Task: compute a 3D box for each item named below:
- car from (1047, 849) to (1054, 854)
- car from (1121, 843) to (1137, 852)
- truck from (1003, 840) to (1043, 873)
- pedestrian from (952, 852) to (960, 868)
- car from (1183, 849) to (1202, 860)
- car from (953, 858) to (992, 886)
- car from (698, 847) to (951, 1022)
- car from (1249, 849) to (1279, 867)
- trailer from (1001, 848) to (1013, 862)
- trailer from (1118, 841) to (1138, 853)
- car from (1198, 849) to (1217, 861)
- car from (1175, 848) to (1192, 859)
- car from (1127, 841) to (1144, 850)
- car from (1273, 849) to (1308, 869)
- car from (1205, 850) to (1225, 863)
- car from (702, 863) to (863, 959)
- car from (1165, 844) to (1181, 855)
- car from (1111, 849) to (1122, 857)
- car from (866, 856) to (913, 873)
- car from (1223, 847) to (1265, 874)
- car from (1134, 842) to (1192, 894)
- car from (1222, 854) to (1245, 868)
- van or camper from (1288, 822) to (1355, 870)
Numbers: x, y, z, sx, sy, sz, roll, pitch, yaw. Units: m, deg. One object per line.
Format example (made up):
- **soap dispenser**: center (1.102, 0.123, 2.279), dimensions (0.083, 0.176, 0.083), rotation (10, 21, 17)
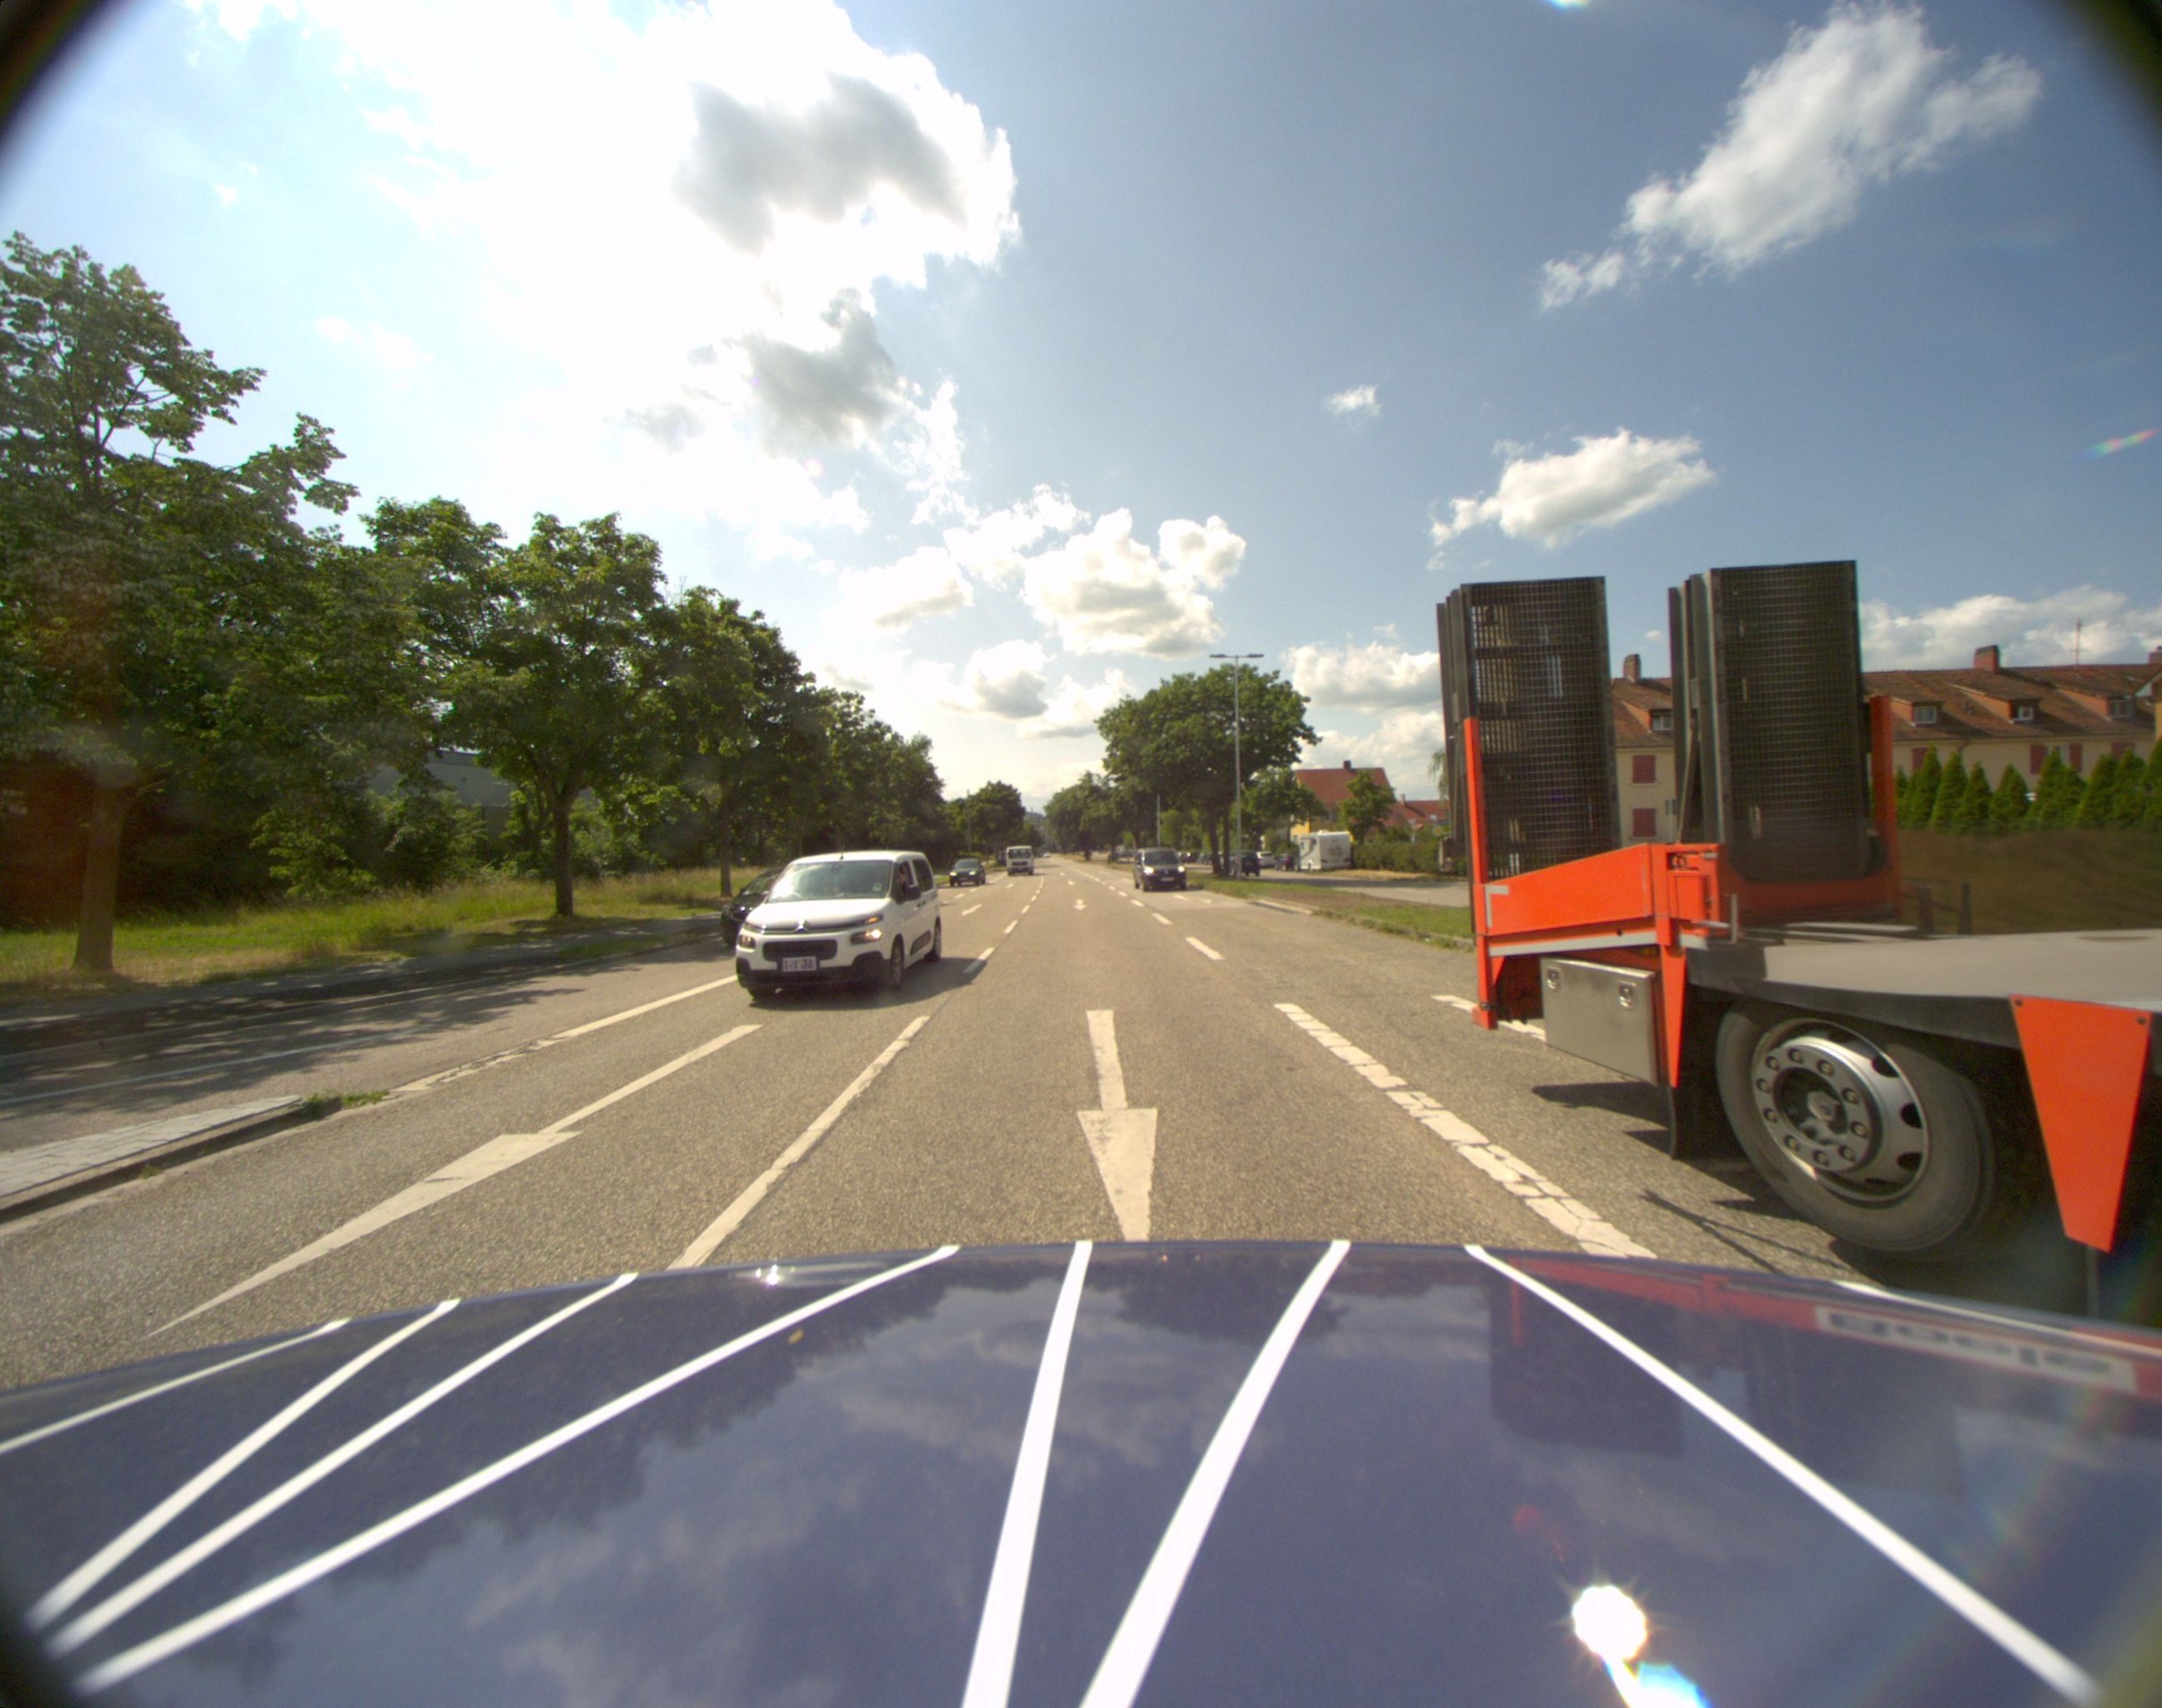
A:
- **car**: center (-9.196, -0.708, 226.549), dimensions (1.892, 1.281, 3.998), rotation (-4, 1, -4)
- **car**: center (12.529, -1.692, 198.323), dimensions (1.800, 2.002, 4.007), rotation (-2, 2, 44)
- **truck**: center (-5.196, 0.172, 69.158), dimensions (2.848, 2.649, 7.350), rotation (-3, 1, 1)
- **pedestrian**: center (-14.888, 0.691, 90.319), dimensions (0.719, 1.784, 0.739), rotation (-4, 2, -4)
- **car**: center (15.437, 0.095, 105.483), dimensions (1.665, 1.473, 4.102), rotation (-4, 0, -4)
- **car**: center (-6.968, 1.140, 49.083), dimensions (1.758, 1.482, 3.999), rotation (-3, 1, 1)
- **car**: center (-3.174, 0.866, 10.580), dimensions (1.936, 1.775, 4.714), rotation (-4, 0, -2)
- **car**: center (16.918, 0.334, 70.481), dimensions (1.693, 1.477, 4.122), rotation (-4, 1, -1)
- **trailer**: center (-12.521, 0.133, 128.922), dimensions (1.958, 2.338, 4.603), rotation (0, 1, -5)
- **trailer**: center (13.448, -2.090, 215.159), dimensions (2.821, 3.090, 5.763), rotation (-3, 1, 35)
- **car**: center (16.108, 0.109, 97.083), dimensions (1.567, 1.387, 3.475), rotation (-4, 1, -3)
- **car**: center (15.274, -0.124, 112.966), dimensions (1.665, 1.443, 3.845), rotation (-4, 1, -4)
- **car**: center (13.654, -2.035, 189.990), dimensions (1.800, 2.002, 4.007), rotation (-2, 2, 44)
- **car**: center (17.077, 0.385, 62.038), dimensions (1.640, 1.477, 3.991), rotation (-4, 1, -1)
- **car**: center (16.379, 0.299, 92.804), dimensions (1.406, 1.387, 4.355), rotation (-4, 1, -3)
- **car**: center (-6.476, 1.145, 17.055), dimensions (1.770, 1.640, 4.237), rotation (-3, 1, 1)
- **car**: center (14.603, -0.717, 120.220), dimensions (1.665, 1.603, 4.312), rotation (-4, 1, -4)
- **car**: center (7.159, -0.130, 153.914), dimensions (1.737, 1.499, 4.649), rotation (2, 1, -4)
- **car**: center (-18.159, 0.980, 72.148), dimensions (4.176, 1.484, 1.783), rotation (1, -1, -8)
- **car**: center (10.561, 0.412, 49.562), dimensions (1.799, 1.679, 3.999), rotation (-1, 1, -1)
- **car**: center (3.349, 0.515, 31.978), dimensions (1.768, 1.893, 4.539), rotation (-4, 1, -1)
- **car**: center (16.496, 0.742, 82.374), dimensions (1.515, 1.362, 4.530), rotation (-4, 0, -1)
- **van or camper**: center (17.275, -0.537, 55.068), dimensions (2.265, 3.094, 7.319), rotation (-4, 0, -1)
